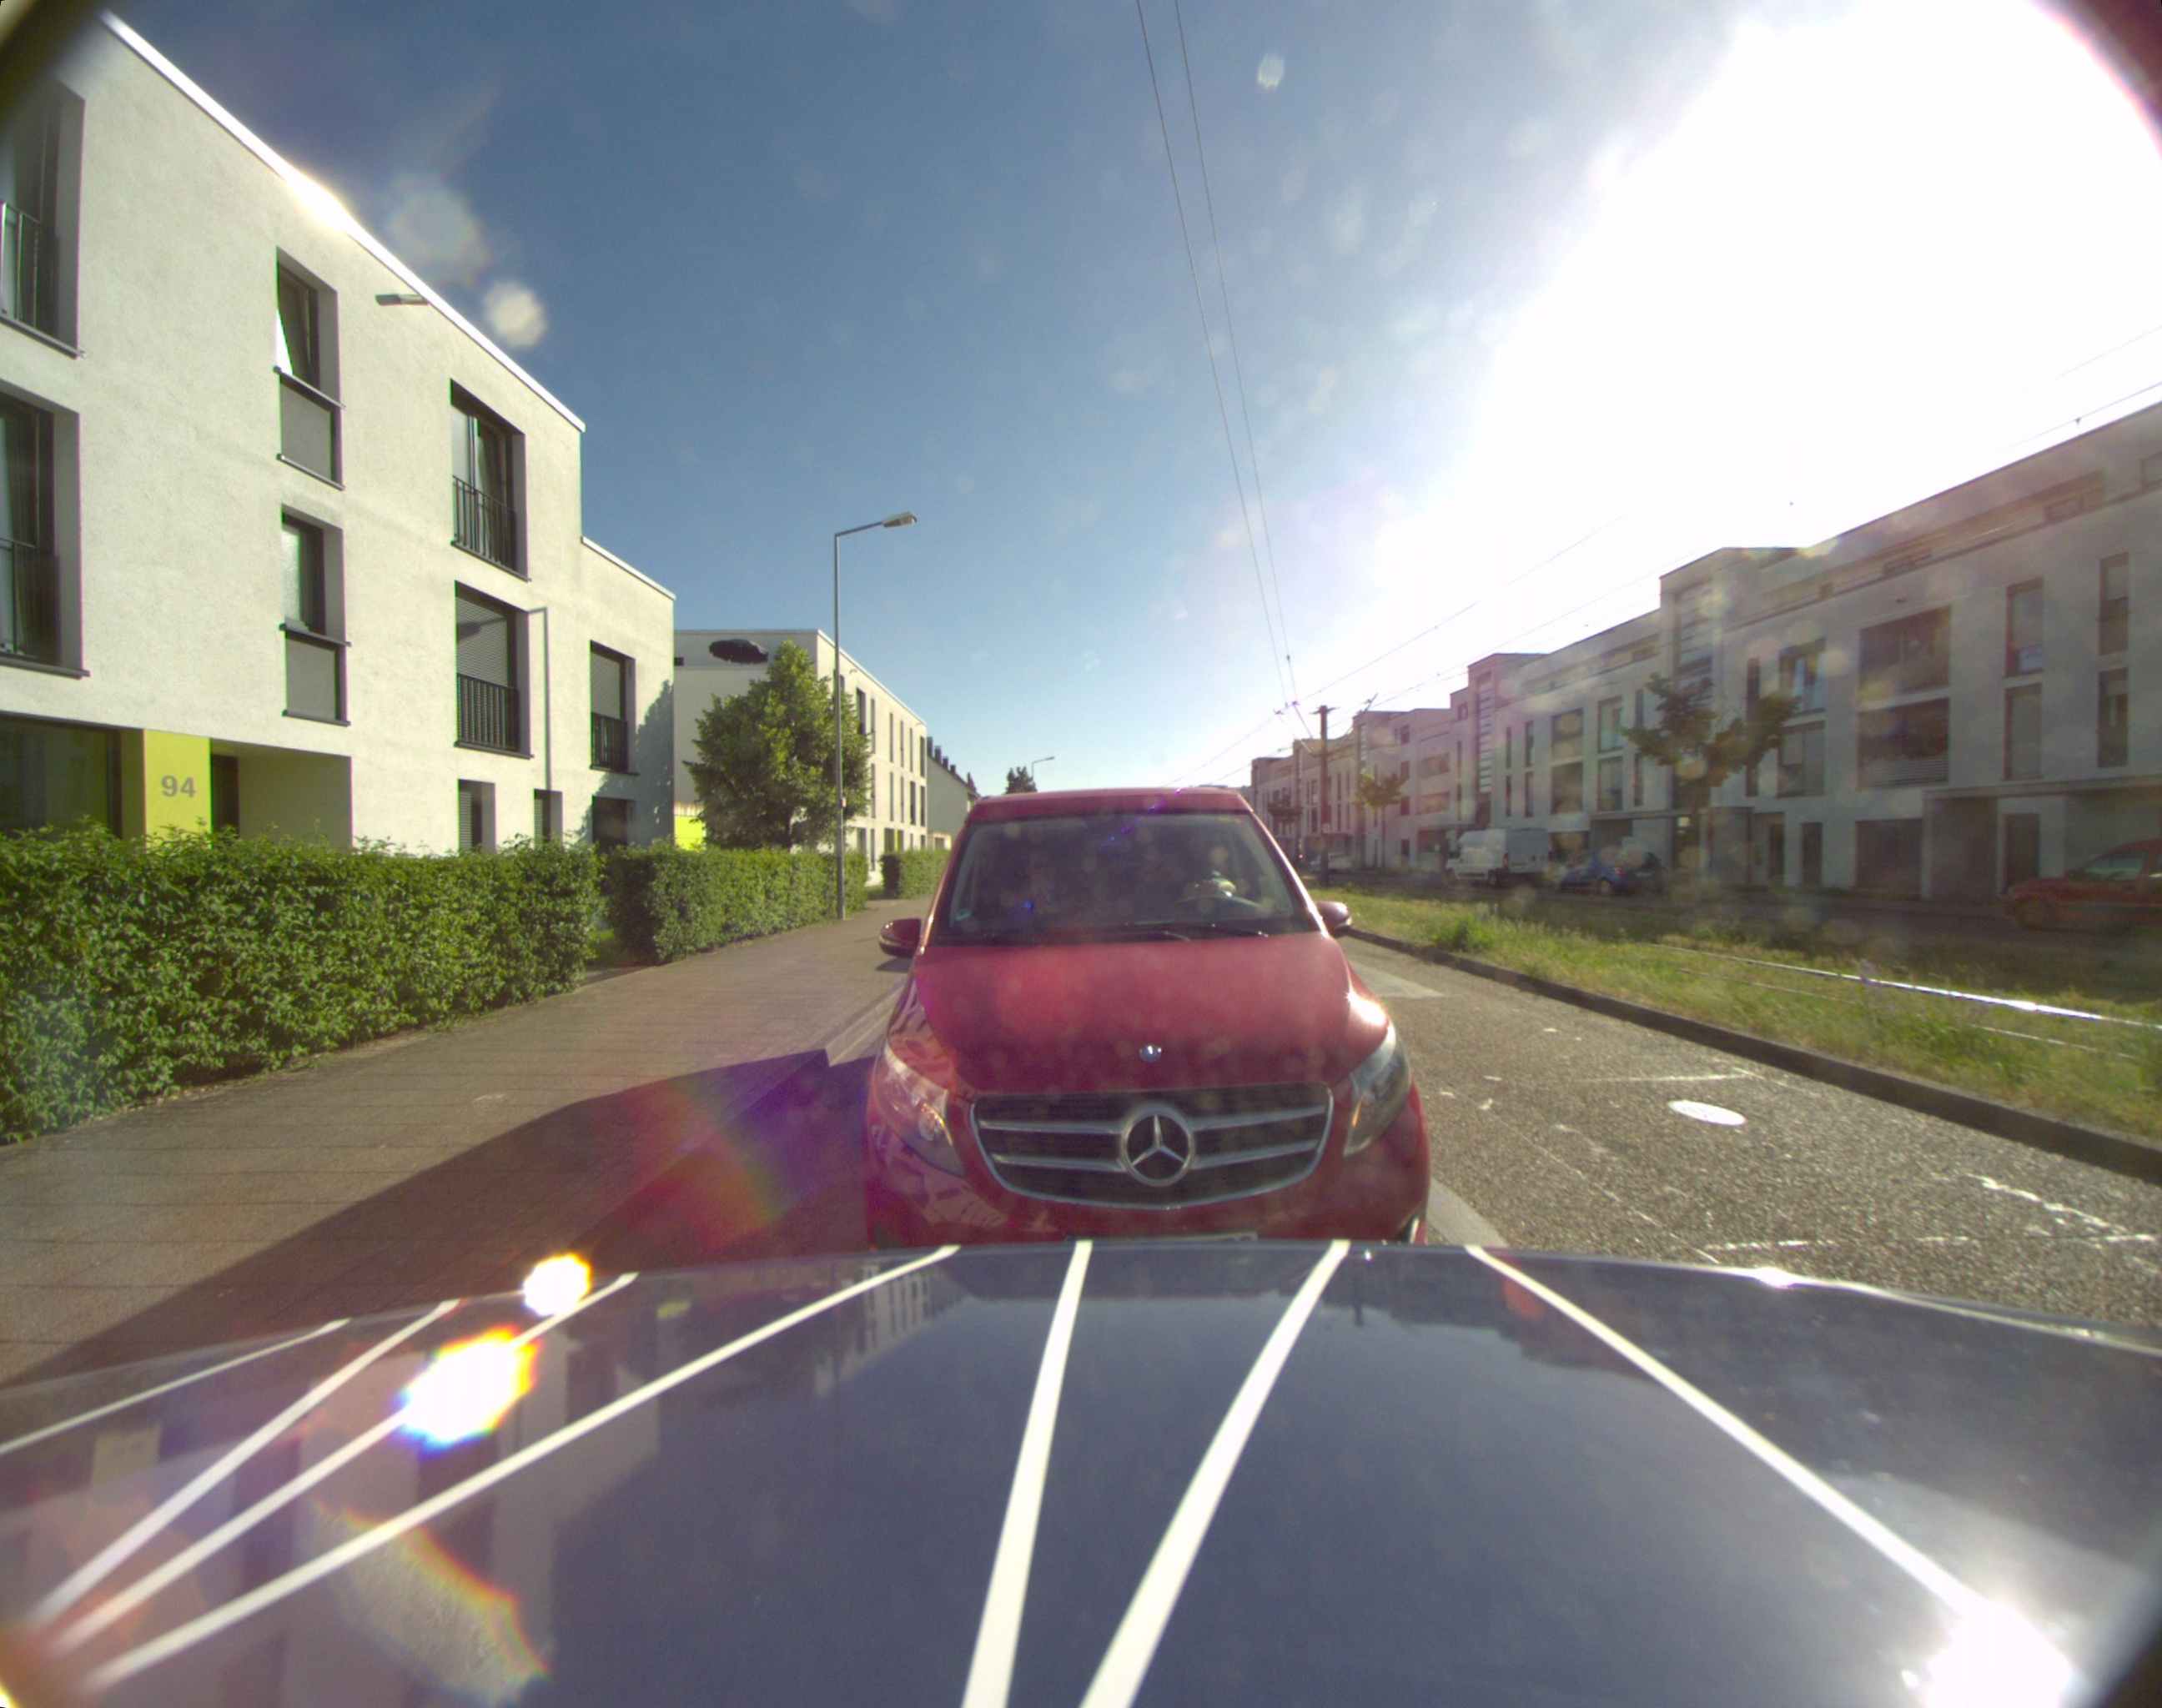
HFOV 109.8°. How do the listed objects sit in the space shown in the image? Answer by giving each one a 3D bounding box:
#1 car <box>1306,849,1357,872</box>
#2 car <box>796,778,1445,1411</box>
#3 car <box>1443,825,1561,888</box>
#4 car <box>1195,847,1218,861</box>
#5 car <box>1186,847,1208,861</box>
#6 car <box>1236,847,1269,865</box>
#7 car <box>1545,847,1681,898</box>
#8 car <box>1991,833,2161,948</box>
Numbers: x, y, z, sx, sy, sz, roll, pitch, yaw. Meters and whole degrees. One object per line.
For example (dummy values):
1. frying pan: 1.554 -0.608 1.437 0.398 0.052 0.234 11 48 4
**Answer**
1. car: 17.638 0.424 53.725 1.923 1.497 4.282 -2 1 -4
2. car: 0.153 0.705 4.526 1.874 1.843 4.506 -2 1 1
3. car: 18.172 0.082 33.156 2.225 2.458 5.195 -2 1 0
4. car: 15.480 -0.026 93.892 1.923 1.671 4.282 -2 1 -4
5. car: 15.194 -0.047 99.643 1.923 1.671 4.282 -2 1 -4
6. car: 16.724 0.144 74.340 1.923 1.671 4.282 -2 1 -4
7. car: 18.379 0.584 26.485 1.998 1.536 3.835 -2 1 0
8. car: 18.618 0.585 12.794 1.998 1.817 3.895 -2 1 3
